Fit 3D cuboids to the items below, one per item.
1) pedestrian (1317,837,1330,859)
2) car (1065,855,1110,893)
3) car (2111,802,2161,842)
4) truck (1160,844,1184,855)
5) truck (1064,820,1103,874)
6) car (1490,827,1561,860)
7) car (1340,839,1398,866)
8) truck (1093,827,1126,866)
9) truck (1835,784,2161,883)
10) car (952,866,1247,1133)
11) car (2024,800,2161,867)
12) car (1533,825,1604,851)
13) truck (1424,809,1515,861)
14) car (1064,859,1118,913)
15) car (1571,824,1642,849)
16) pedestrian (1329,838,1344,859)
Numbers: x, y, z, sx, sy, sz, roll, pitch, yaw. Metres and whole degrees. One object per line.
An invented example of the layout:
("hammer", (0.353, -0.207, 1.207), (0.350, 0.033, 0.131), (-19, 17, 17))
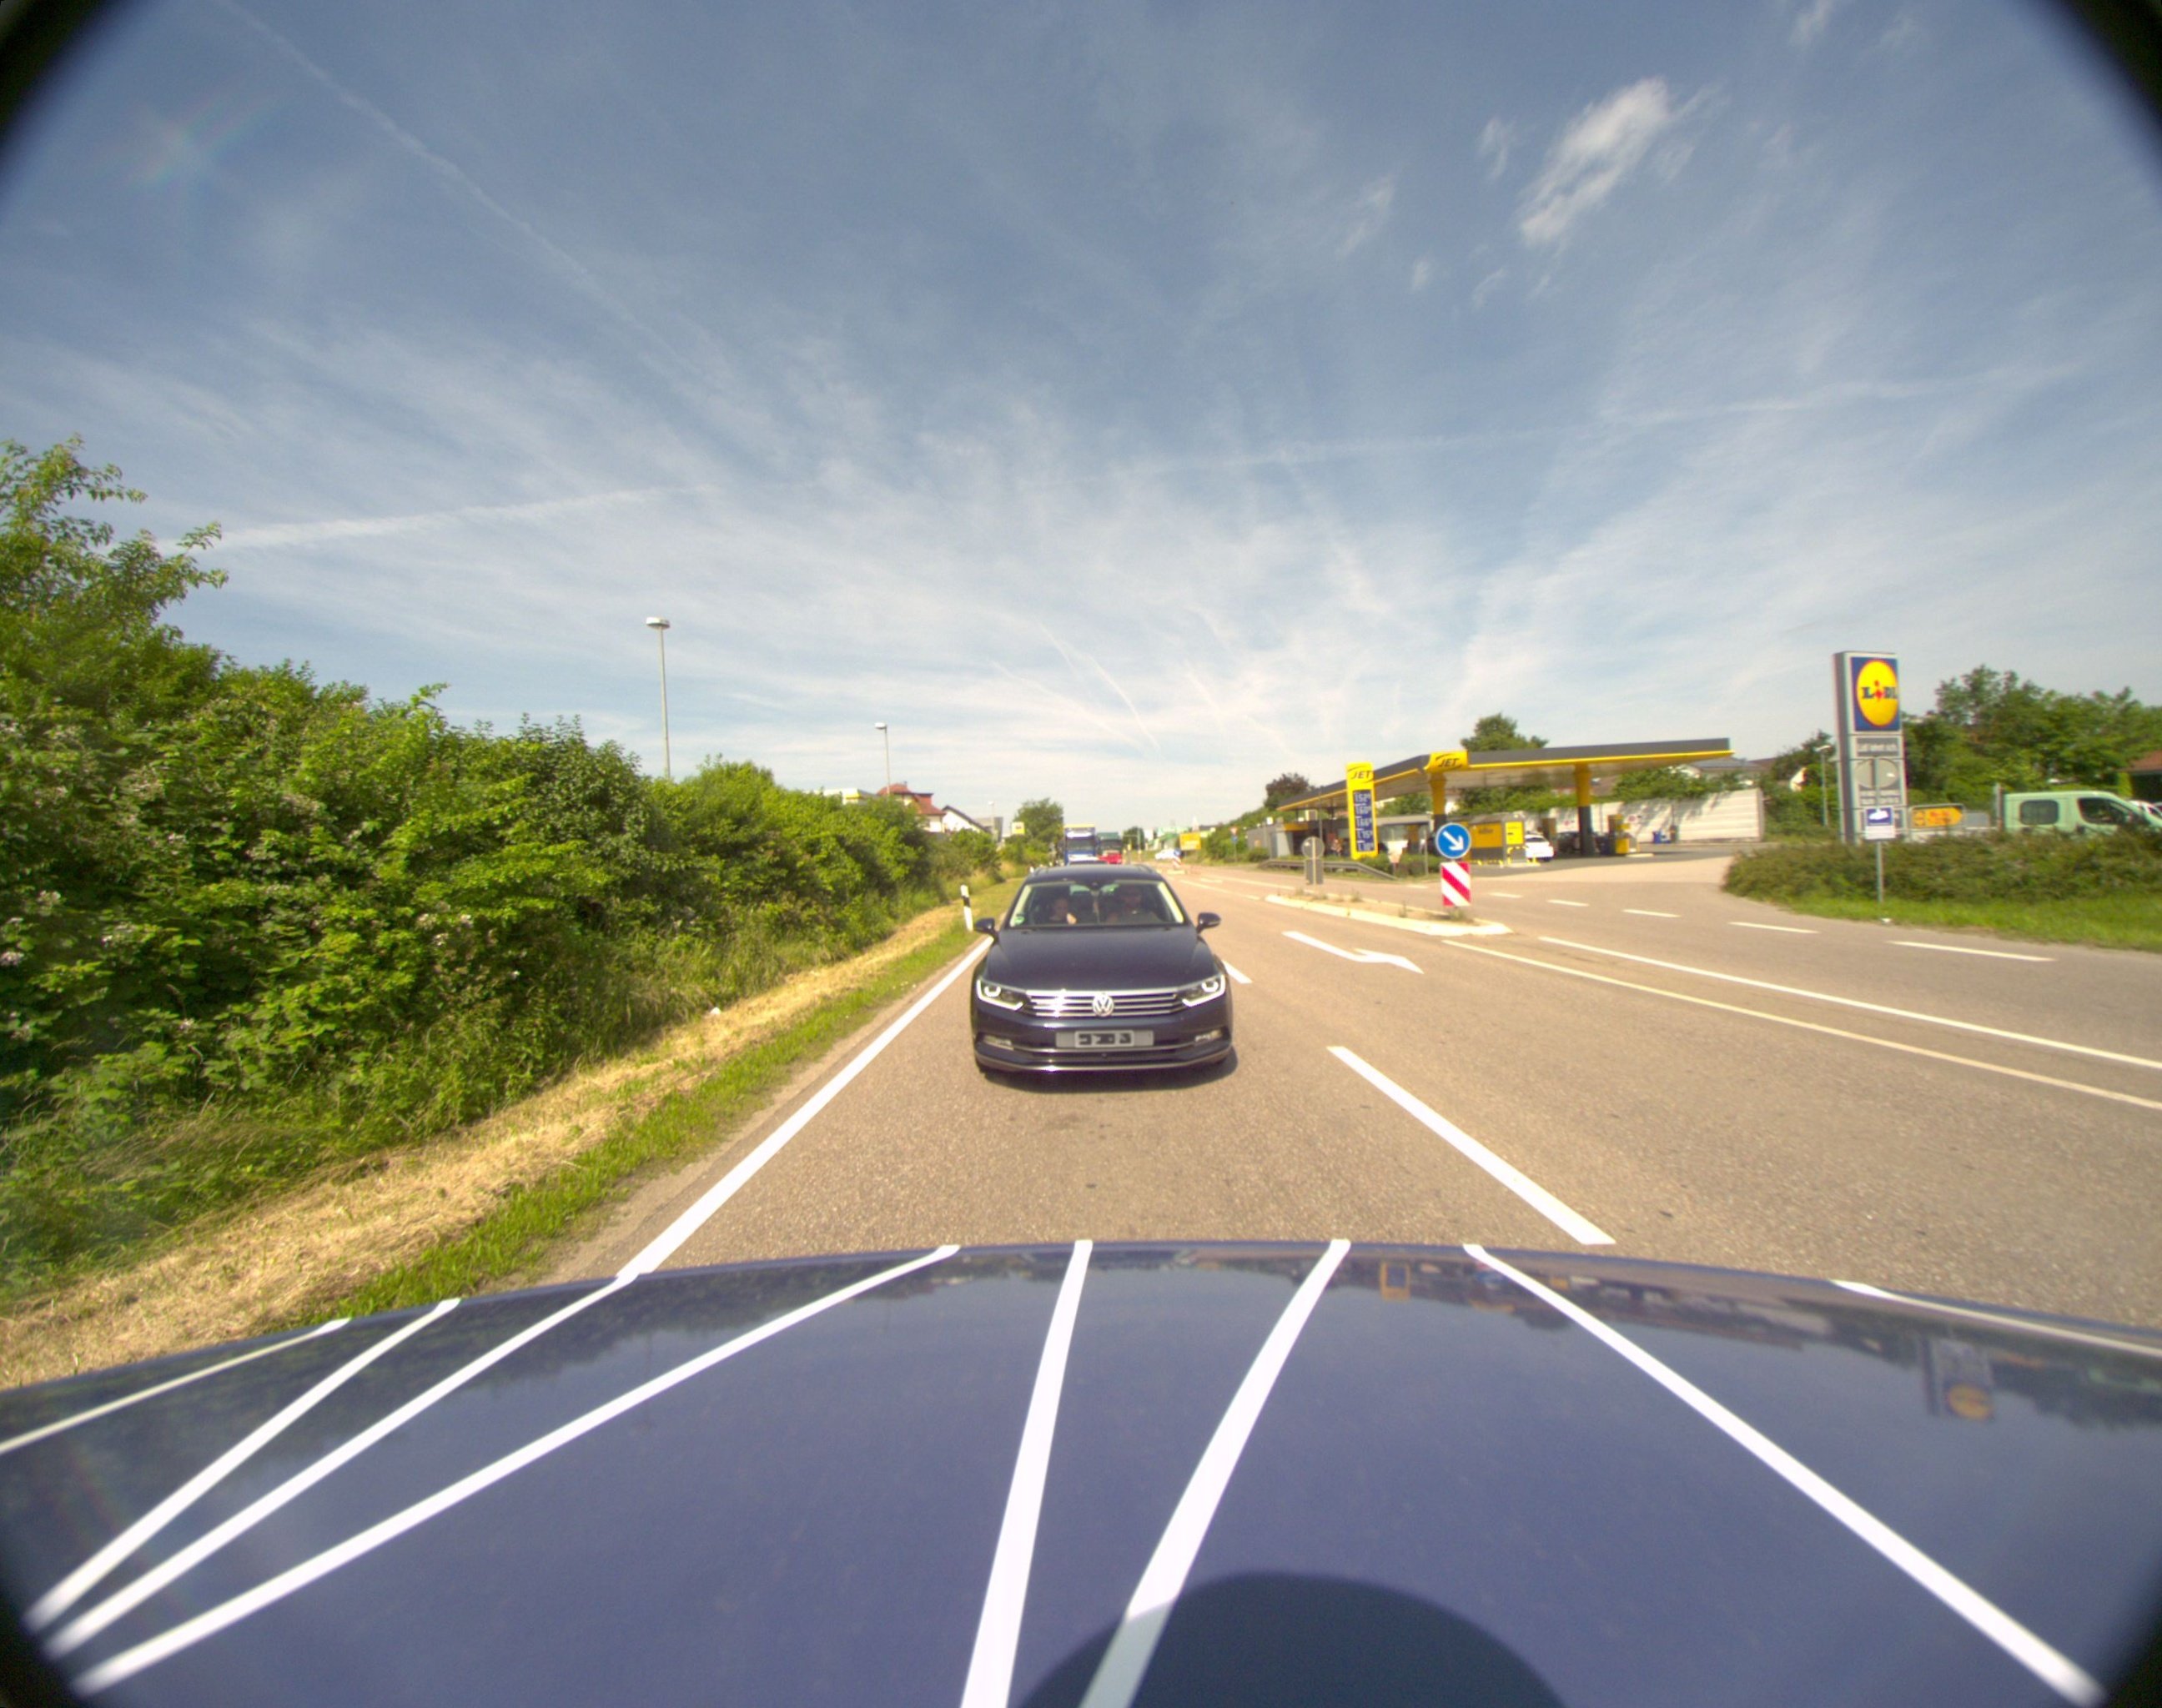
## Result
("pedestrian", (20.726, -0.536, 64.953), (0.798, 1.827, 0.640), (-3, 1, 1))
("car", (0.298, 0.835, 33.338), (1.814, 1.466, 3.974), (-2, 0, 1))
("car", (44.681, -1.380, 30.765), (3.999, 1.531, 1.769), (-3, 0, -7))
("truck", (19.406, -0.999, 162.514), (4.772, 1.997, 1.999), (-3, 1, -2))
("truck", (0.273, -0.580, 64.916), (2.855, 3.999, 12.916), (-2, 0, 1))
("car", (24.251, -0.525, 41.620), (1.736, 1.717, 4.001), (-1, 0, 3))
("car", (19.046, -0.081, 50.399), (1.999, 1.696, 4.263), (-2, 0, -3))
("truck", (3.038, -0.767, 83.817), (2.675, 3.897, 10.047), (-3, 0, -2))
("truck", (24.961, -0.443, 20.617), (2.253, 2.361, 6.333), (-2, 0, -44))
("car", (0.149, 0.935, 7.119), (1.756, 1.493, 4.925), (-2, 0, 1))
("car", (30.695, -0.629, 22.809), (4.172, 1.801, 1.877), (-3, 1, -23))
("car", (32.202, -1.035, 50.318), (1.753, 1.603, 3.873), (-2, 0, -10))
("truck", (23.860, -1.132, 47.013), (2.250, 2.906, 6.282), (-2, 1, -1))
("car", (0.318, 0.919, 23.513), (1.471, 1.451, 3.797), (-2, 0, 1))
("car", (36.418, -1.185, 52.790), (1.753, 1.603, 3.872), (-2, 0, -11))
("pedestrian", (17.709, -0.385, 52.675), (0.914, 1.419, 0.494), (-2, 1, 5))
